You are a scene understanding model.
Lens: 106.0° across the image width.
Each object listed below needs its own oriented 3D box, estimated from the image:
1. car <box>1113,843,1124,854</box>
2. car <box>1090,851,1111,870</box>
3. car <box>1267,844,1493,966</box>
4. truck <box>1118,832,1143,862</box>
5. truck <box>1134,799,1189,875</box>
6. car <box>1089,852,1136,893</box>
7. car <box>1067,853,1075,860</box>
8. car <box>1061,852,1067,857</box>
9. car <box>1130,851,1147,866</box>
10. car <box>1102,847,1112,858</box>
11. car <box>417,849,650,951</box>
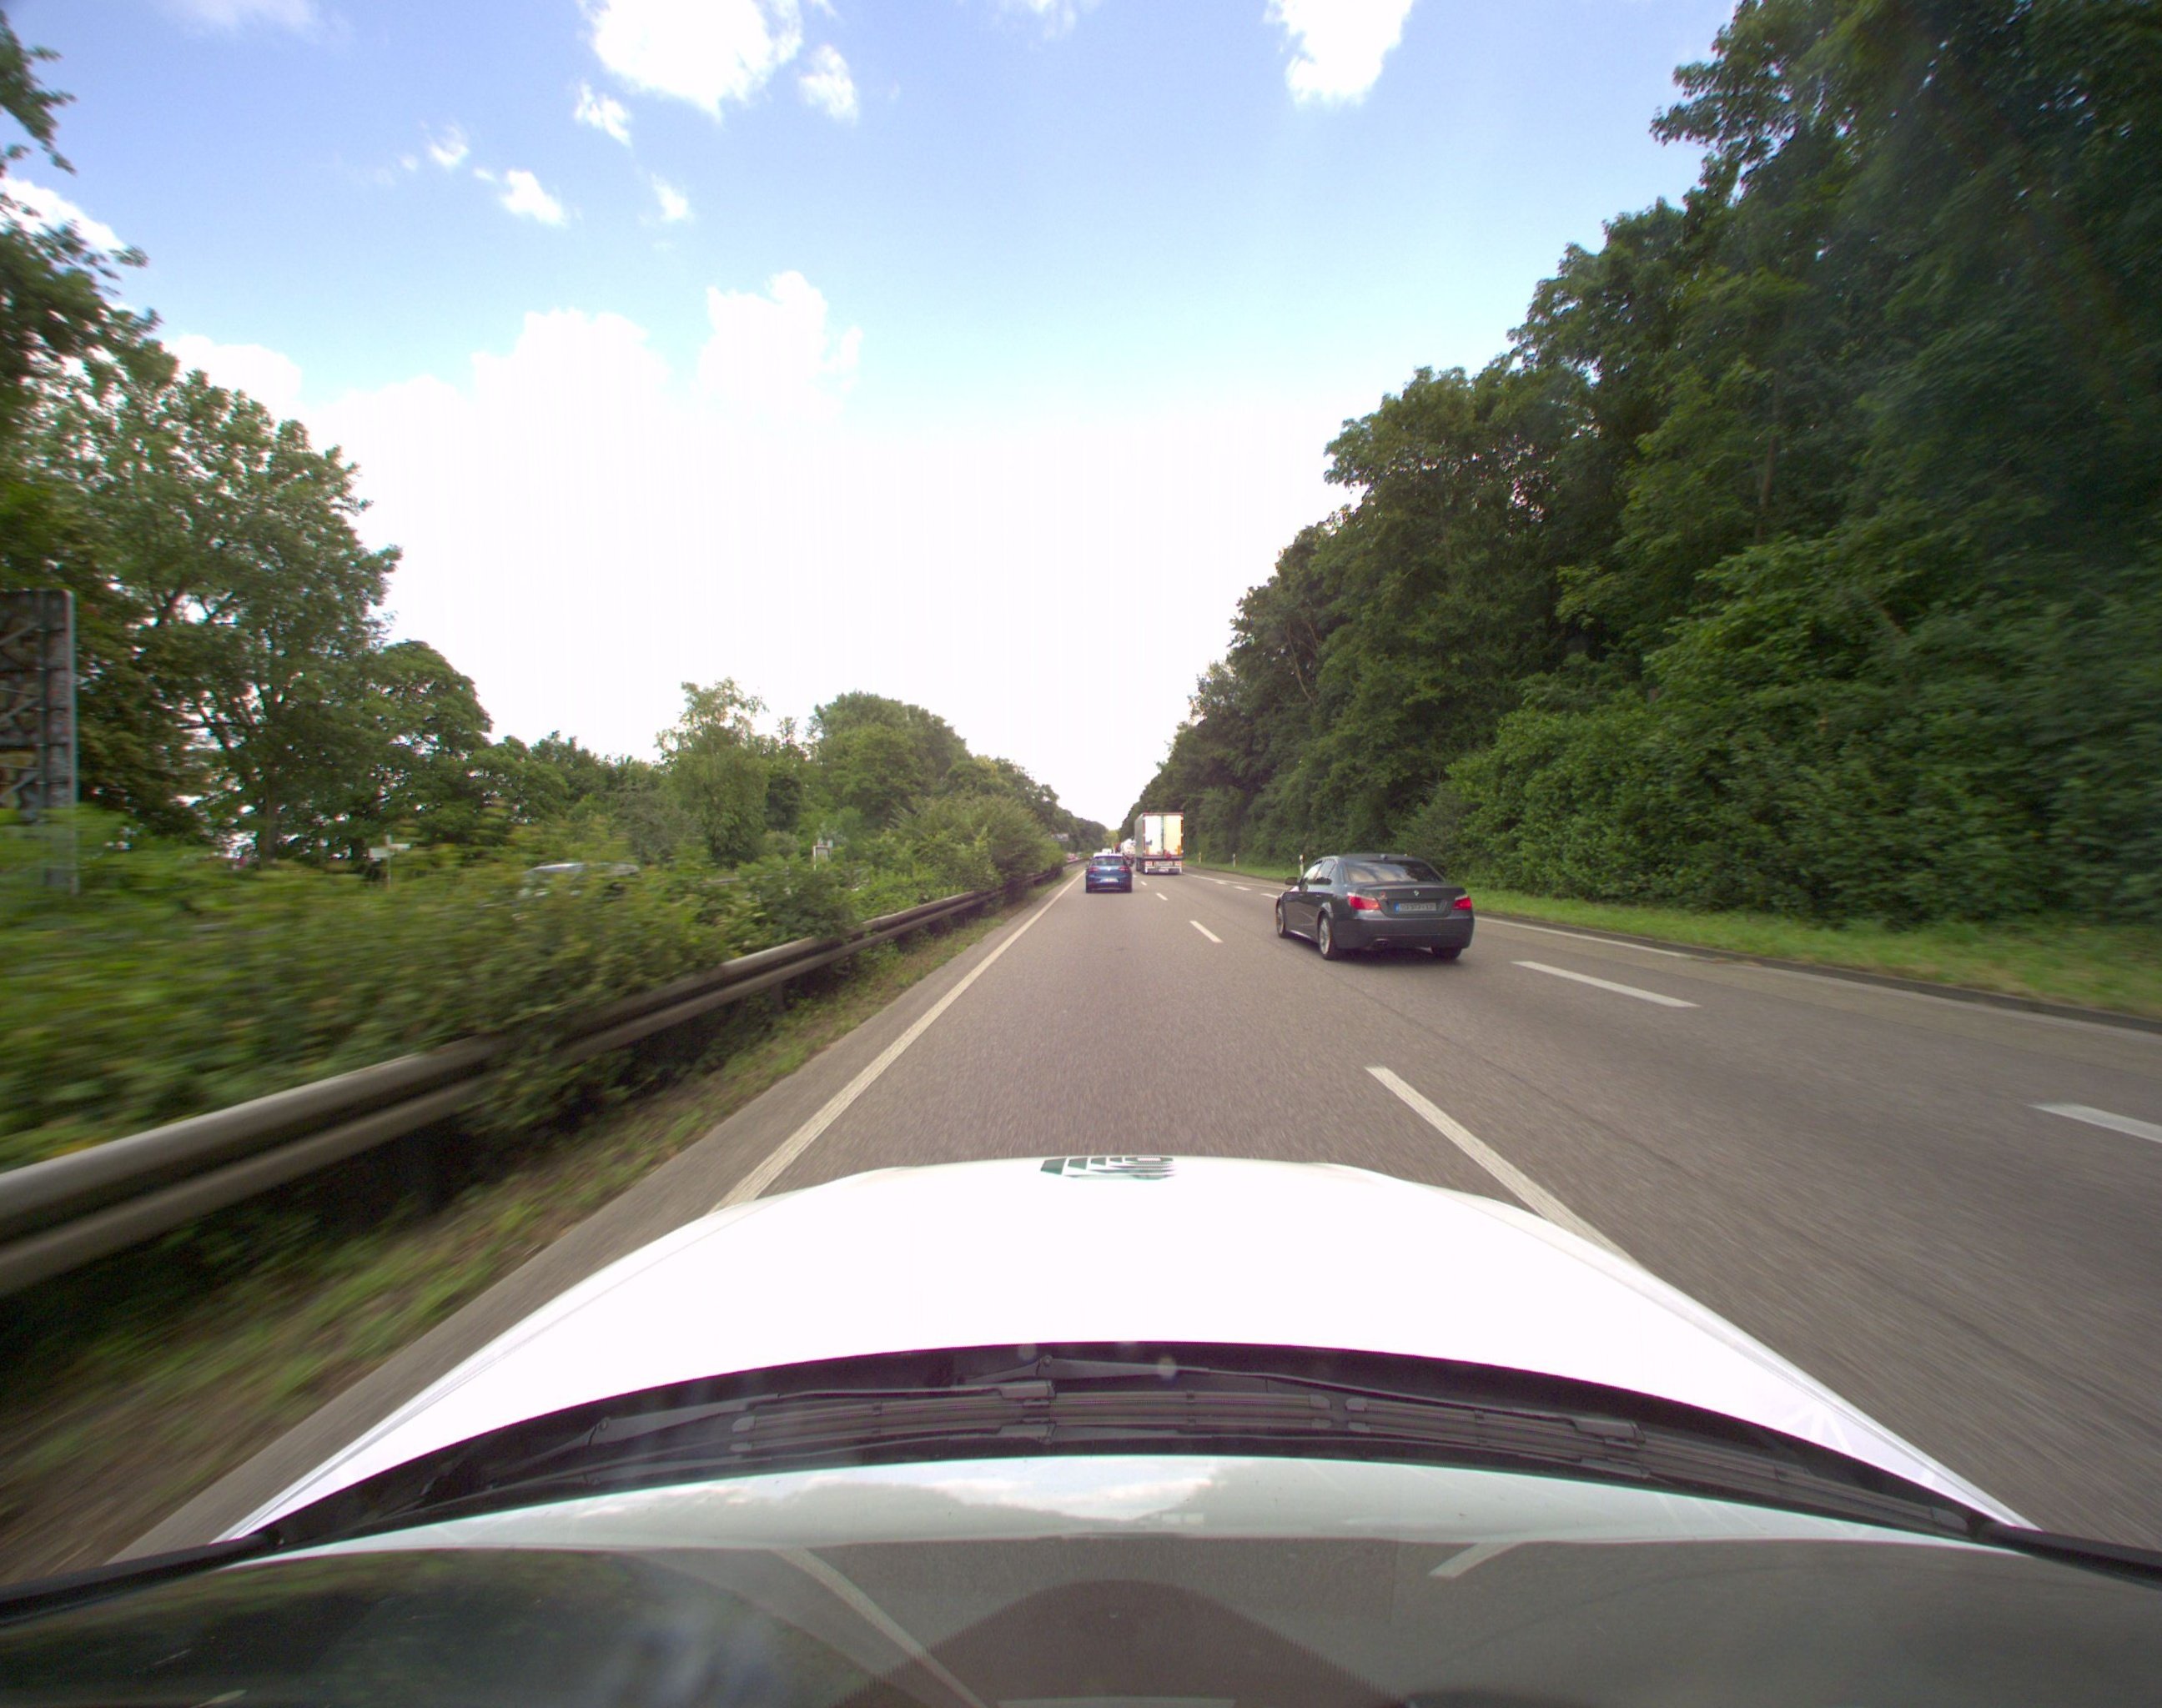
[{"bbox_3d":[8.552,-1.255,185.749,1.988,2.327,4.440,-2,0,-1],"label":"car"},{"bbox_3d":[1.665,0.550,67.928,1.659,1.500,4.154,-1,0,2],"label":"car"},{"bbox_3d":[4.221,0.619,12.425,1.768,1.475,4.882,-1,0,1],"label":"car"},{"bbox_3d":[7.586,-0.966,125.712,3.221,4.386,12.972,-1,0,1],"label":"truck"},{"bbox_3d":[5.464,-1.152,57.291,3.228,4.715,11.016,-2,0,3],"label":"truck"},{"bbox_3d":[1.187,0.687,31.652,1.699,1.470,4.001,-1,0,1],"label":"car"},{"bbox_3d":[-2.308,0.628,192.782,1.671,1.454,4.130,-2,0,3],"label":"car"},{"bbox_3d":[-5.049,0.171,240.449,1.674,1.519,4.860,-2,0,1],"label":"car"},{"bbox_3d":[6.975,0.544,98.687,1.881,1.729,4.002,-2,0,2],"label":"car"},{"bbox_3d":[5.505,-0.335,173.223,1.988,2.255,4.440,-2,0,-1],"label":"car"},{"bbox_3d":[-11.489,0.863,17.548,1.986,1.869,4.279,-2,0,2],"label":"car"}]
